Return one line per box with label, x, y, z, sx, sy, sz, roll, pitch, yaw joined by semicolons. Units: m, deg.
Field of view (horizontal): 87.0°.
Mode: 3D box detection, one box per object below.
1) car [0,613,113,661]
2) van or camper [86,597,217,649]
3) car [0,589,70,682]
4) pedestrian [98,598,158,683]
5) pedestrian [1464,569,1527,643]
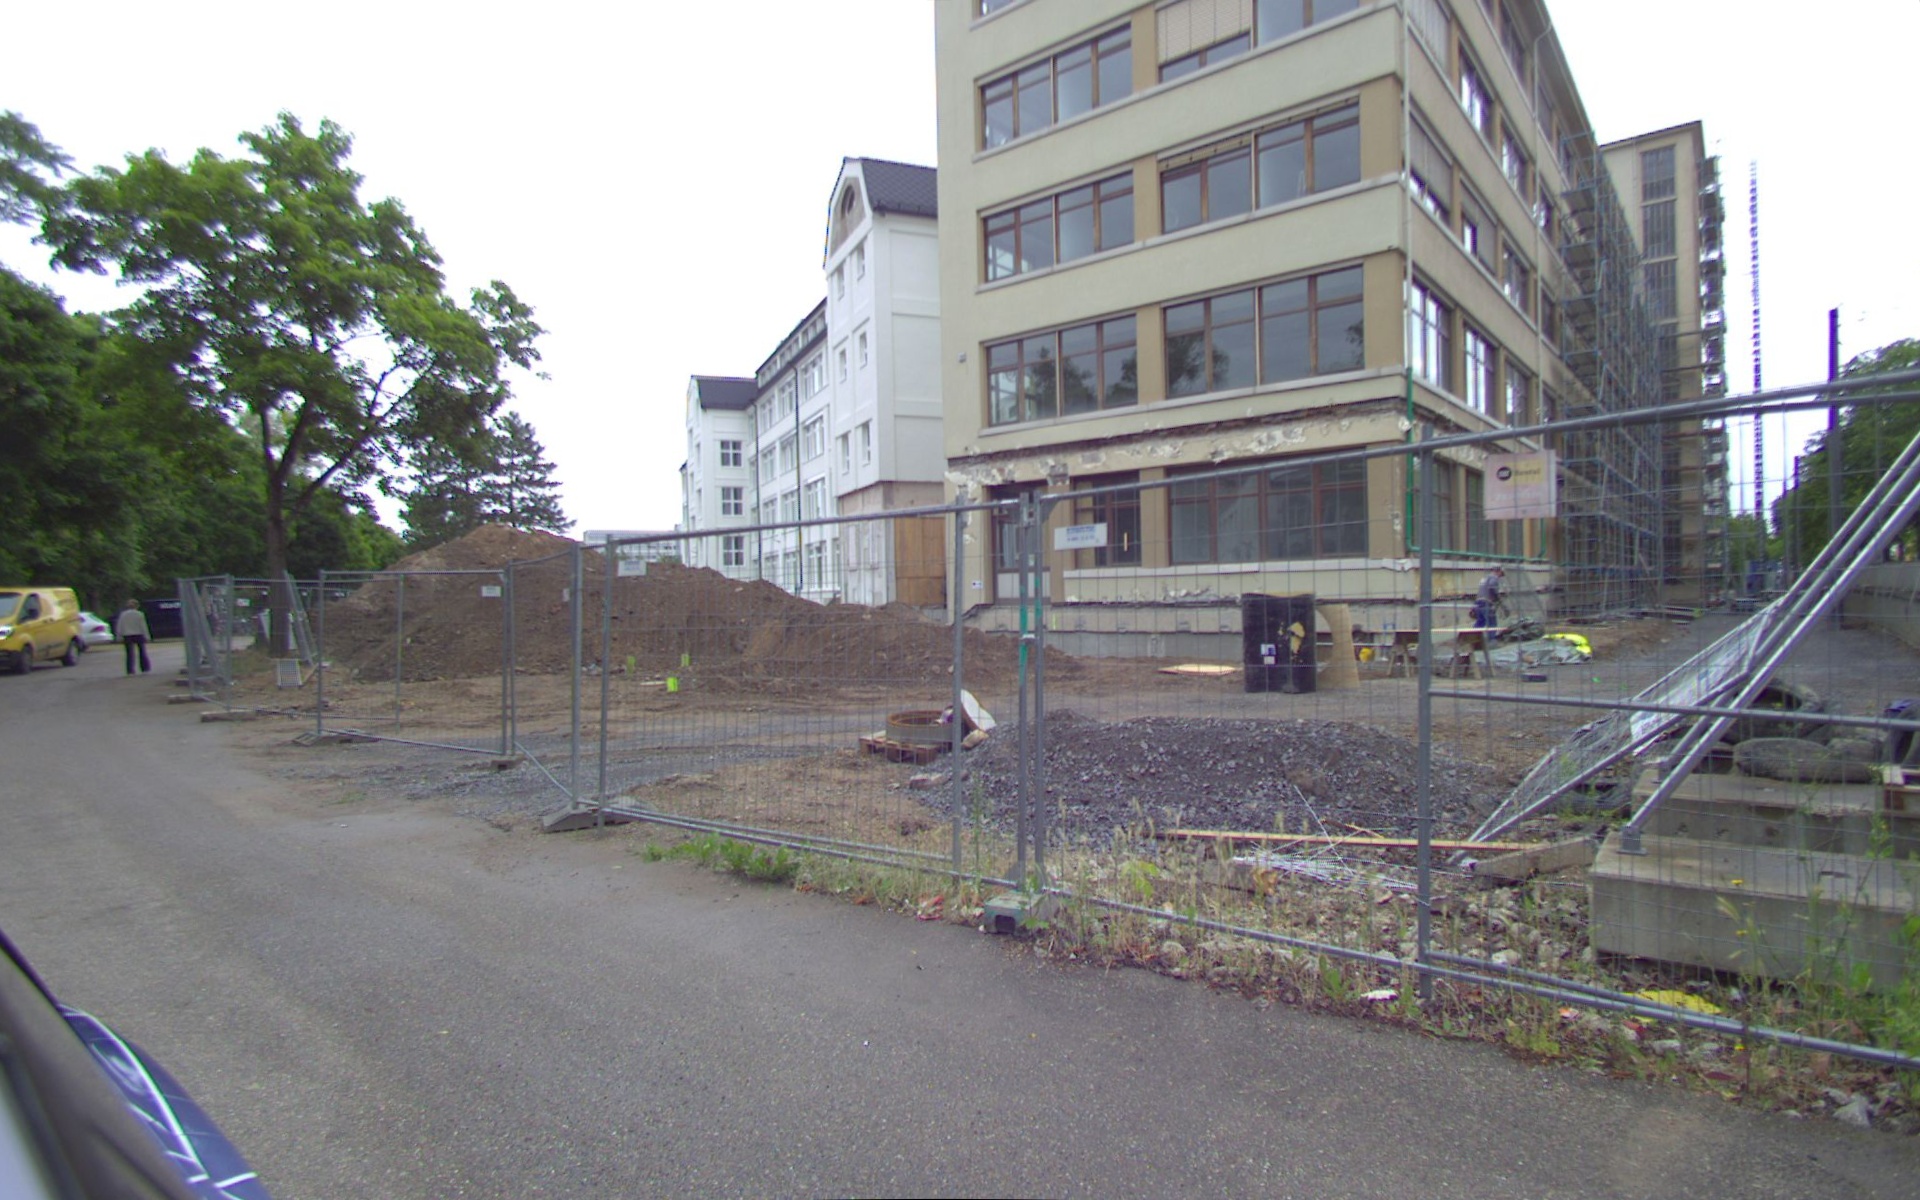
car;-32.709;1.300;35.960;3.822;1.586;1.756;-1;0;-35
van or camper;-37.925;1.045;47.608;4.423;2.275;2.007;-1;0;-23
car;-22.522;0.806;23.438;2.089;2.029;4.012;-1;0;-30
pedestrian;-18.021;0.865;21.925;0.657;1.795;0.747;-1;0;16
pedestrian;10.889;0.116;20.565;0.981;1.448;0.919;-1;0;38
